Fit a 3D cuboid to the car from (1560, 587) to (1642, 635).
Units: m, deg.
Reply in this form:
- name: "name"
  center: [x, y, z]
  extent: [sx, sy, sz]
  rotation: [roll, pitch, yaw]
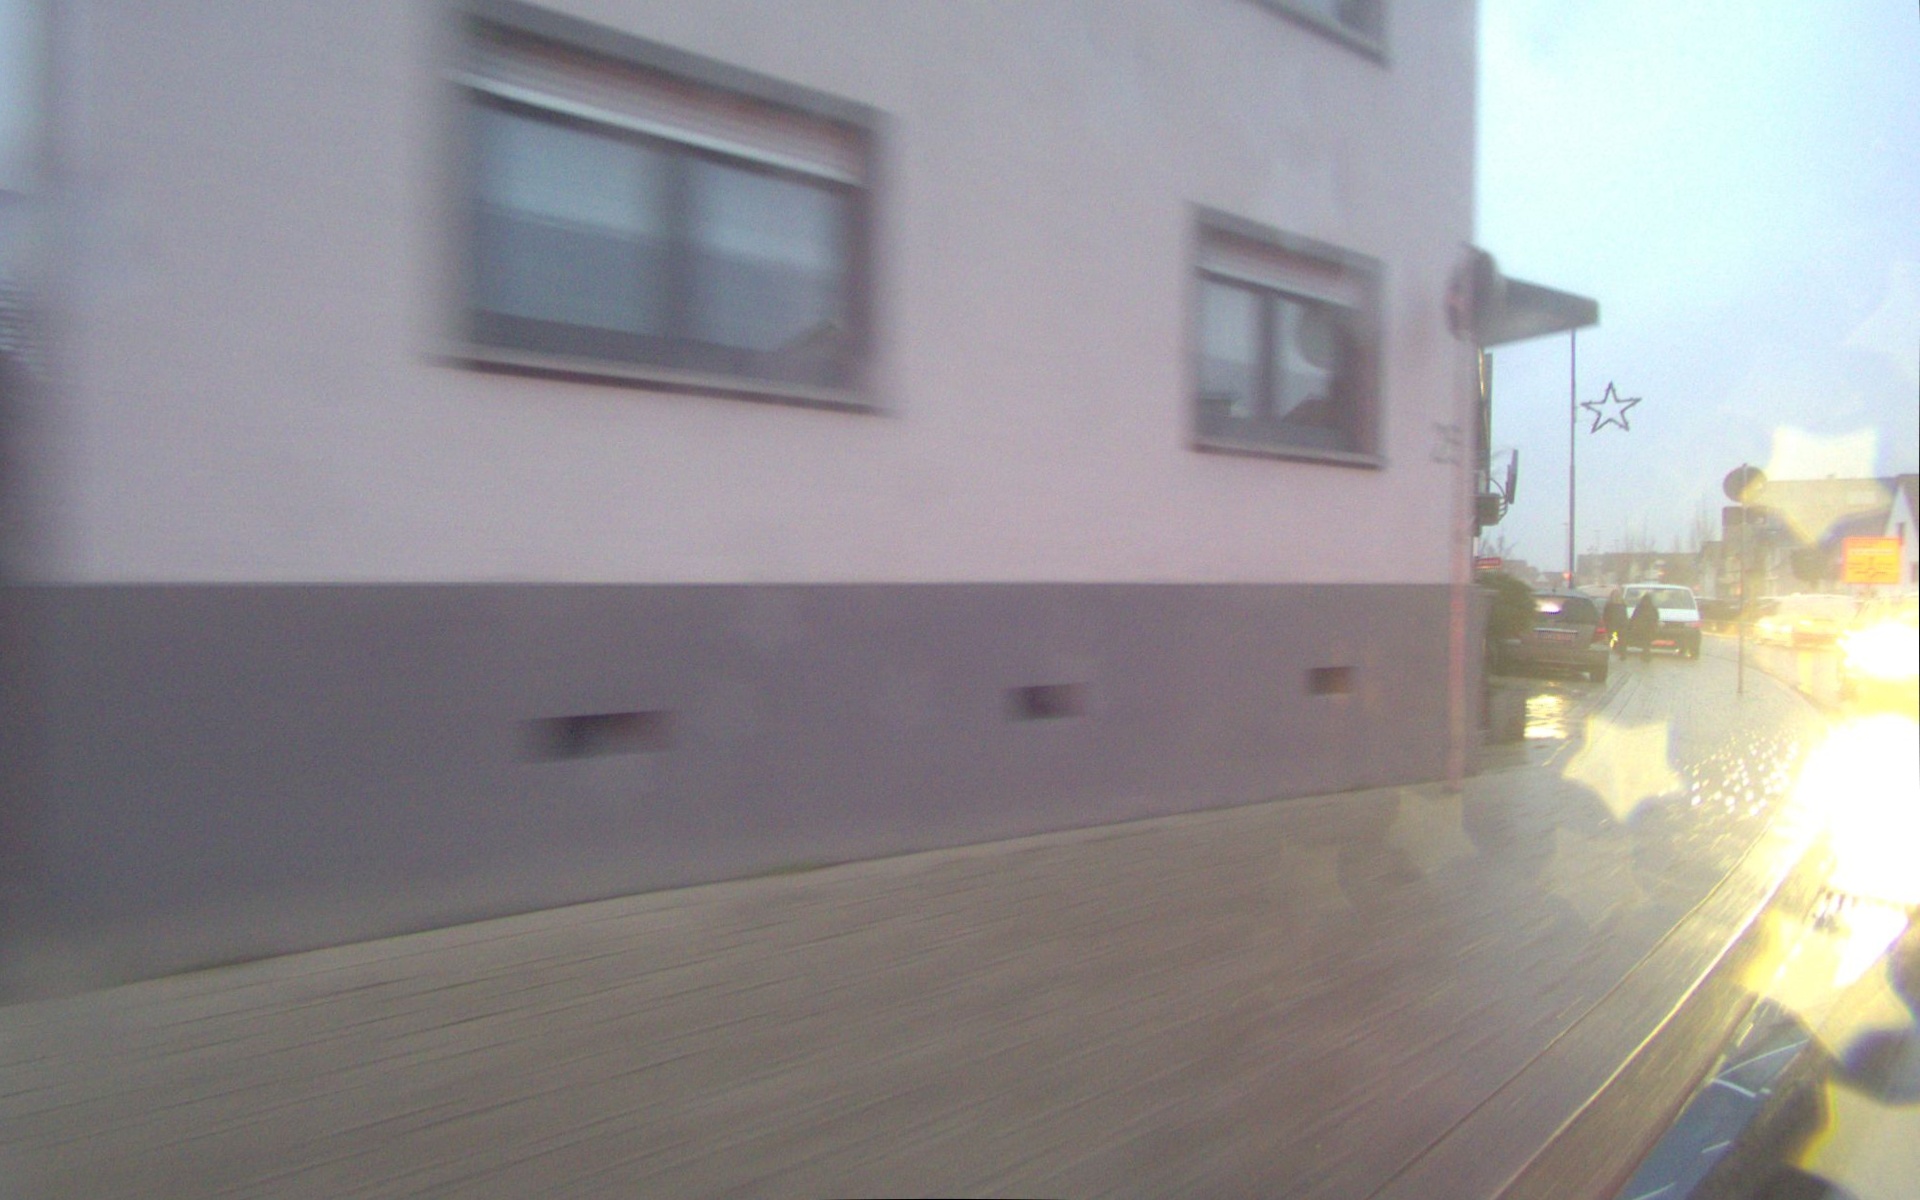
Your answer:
- name: "car"
  center: [24.766, 0.390, 39.252]
  extent: [1.959, 1.681, 4.424]
  rotation: [2, 1, 24]

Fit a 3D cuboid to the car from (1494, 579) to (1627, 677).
- name: "car"
  center: [11.136, 0.449, 18.998]
  extent: [1.721, 1.580, 3.632]
  rotation: [2, 1, 25]

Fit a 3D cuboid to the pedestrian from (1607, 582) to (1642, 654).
- name: "pedestrian"
  center: [15.967, 0.422, 24.337]
  extent: [0.576, 1.690, 0.783]
  rotation: [2, 1, 28]

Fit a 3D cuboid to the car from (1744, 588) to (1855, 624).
- name: "car"
  center: [46.912, 0.313, 56.651]
  extent: [4.379, 1.824, 1.830]
  rotation: [2, 1, 24]

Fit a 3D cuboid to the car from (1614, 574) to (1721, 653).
- name: "car"
  center: [19.654, 0.323, 28.296]
  extent: [1.963, 1.984, 4.800]
  rotation: [2, 1, 30]

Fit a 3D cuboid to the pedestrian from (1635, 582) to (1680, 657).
- name: "pedestrian"
  center: [16.557, 0.437, 24.048]
  extent: [0.708, 1.720, 0.797]
  rotation: [2, 1, 26]

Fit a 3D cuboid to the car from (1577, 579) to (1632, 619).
- name: "car"
  center: [43.253, -0.083, 68.010]
  extent: [2.178, 2.522, 6.092]
  rotation: [1, 1, 24]

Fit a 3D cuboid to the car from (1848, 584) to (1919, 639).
- name: "car"
  center: [35.643, 0.433, 36.173]
  extent: [5.748, 1.971, 1.963]
  rotation: [0, -1, 38]

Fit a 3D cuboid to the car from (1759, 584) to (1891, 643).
- name: "car"
  center: [29.781, 0.405, 35.045]
  extent: [1.930, 1.771, 4.815]
  rotation: [3, 2, 22]

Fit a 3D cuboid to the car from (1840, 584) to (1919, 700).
- name: "car"
  center: [15.949, 0.610, 16.187]
  extent: [2.257, 1.663, 5.002]
  rotation: [1, 1, 35]
